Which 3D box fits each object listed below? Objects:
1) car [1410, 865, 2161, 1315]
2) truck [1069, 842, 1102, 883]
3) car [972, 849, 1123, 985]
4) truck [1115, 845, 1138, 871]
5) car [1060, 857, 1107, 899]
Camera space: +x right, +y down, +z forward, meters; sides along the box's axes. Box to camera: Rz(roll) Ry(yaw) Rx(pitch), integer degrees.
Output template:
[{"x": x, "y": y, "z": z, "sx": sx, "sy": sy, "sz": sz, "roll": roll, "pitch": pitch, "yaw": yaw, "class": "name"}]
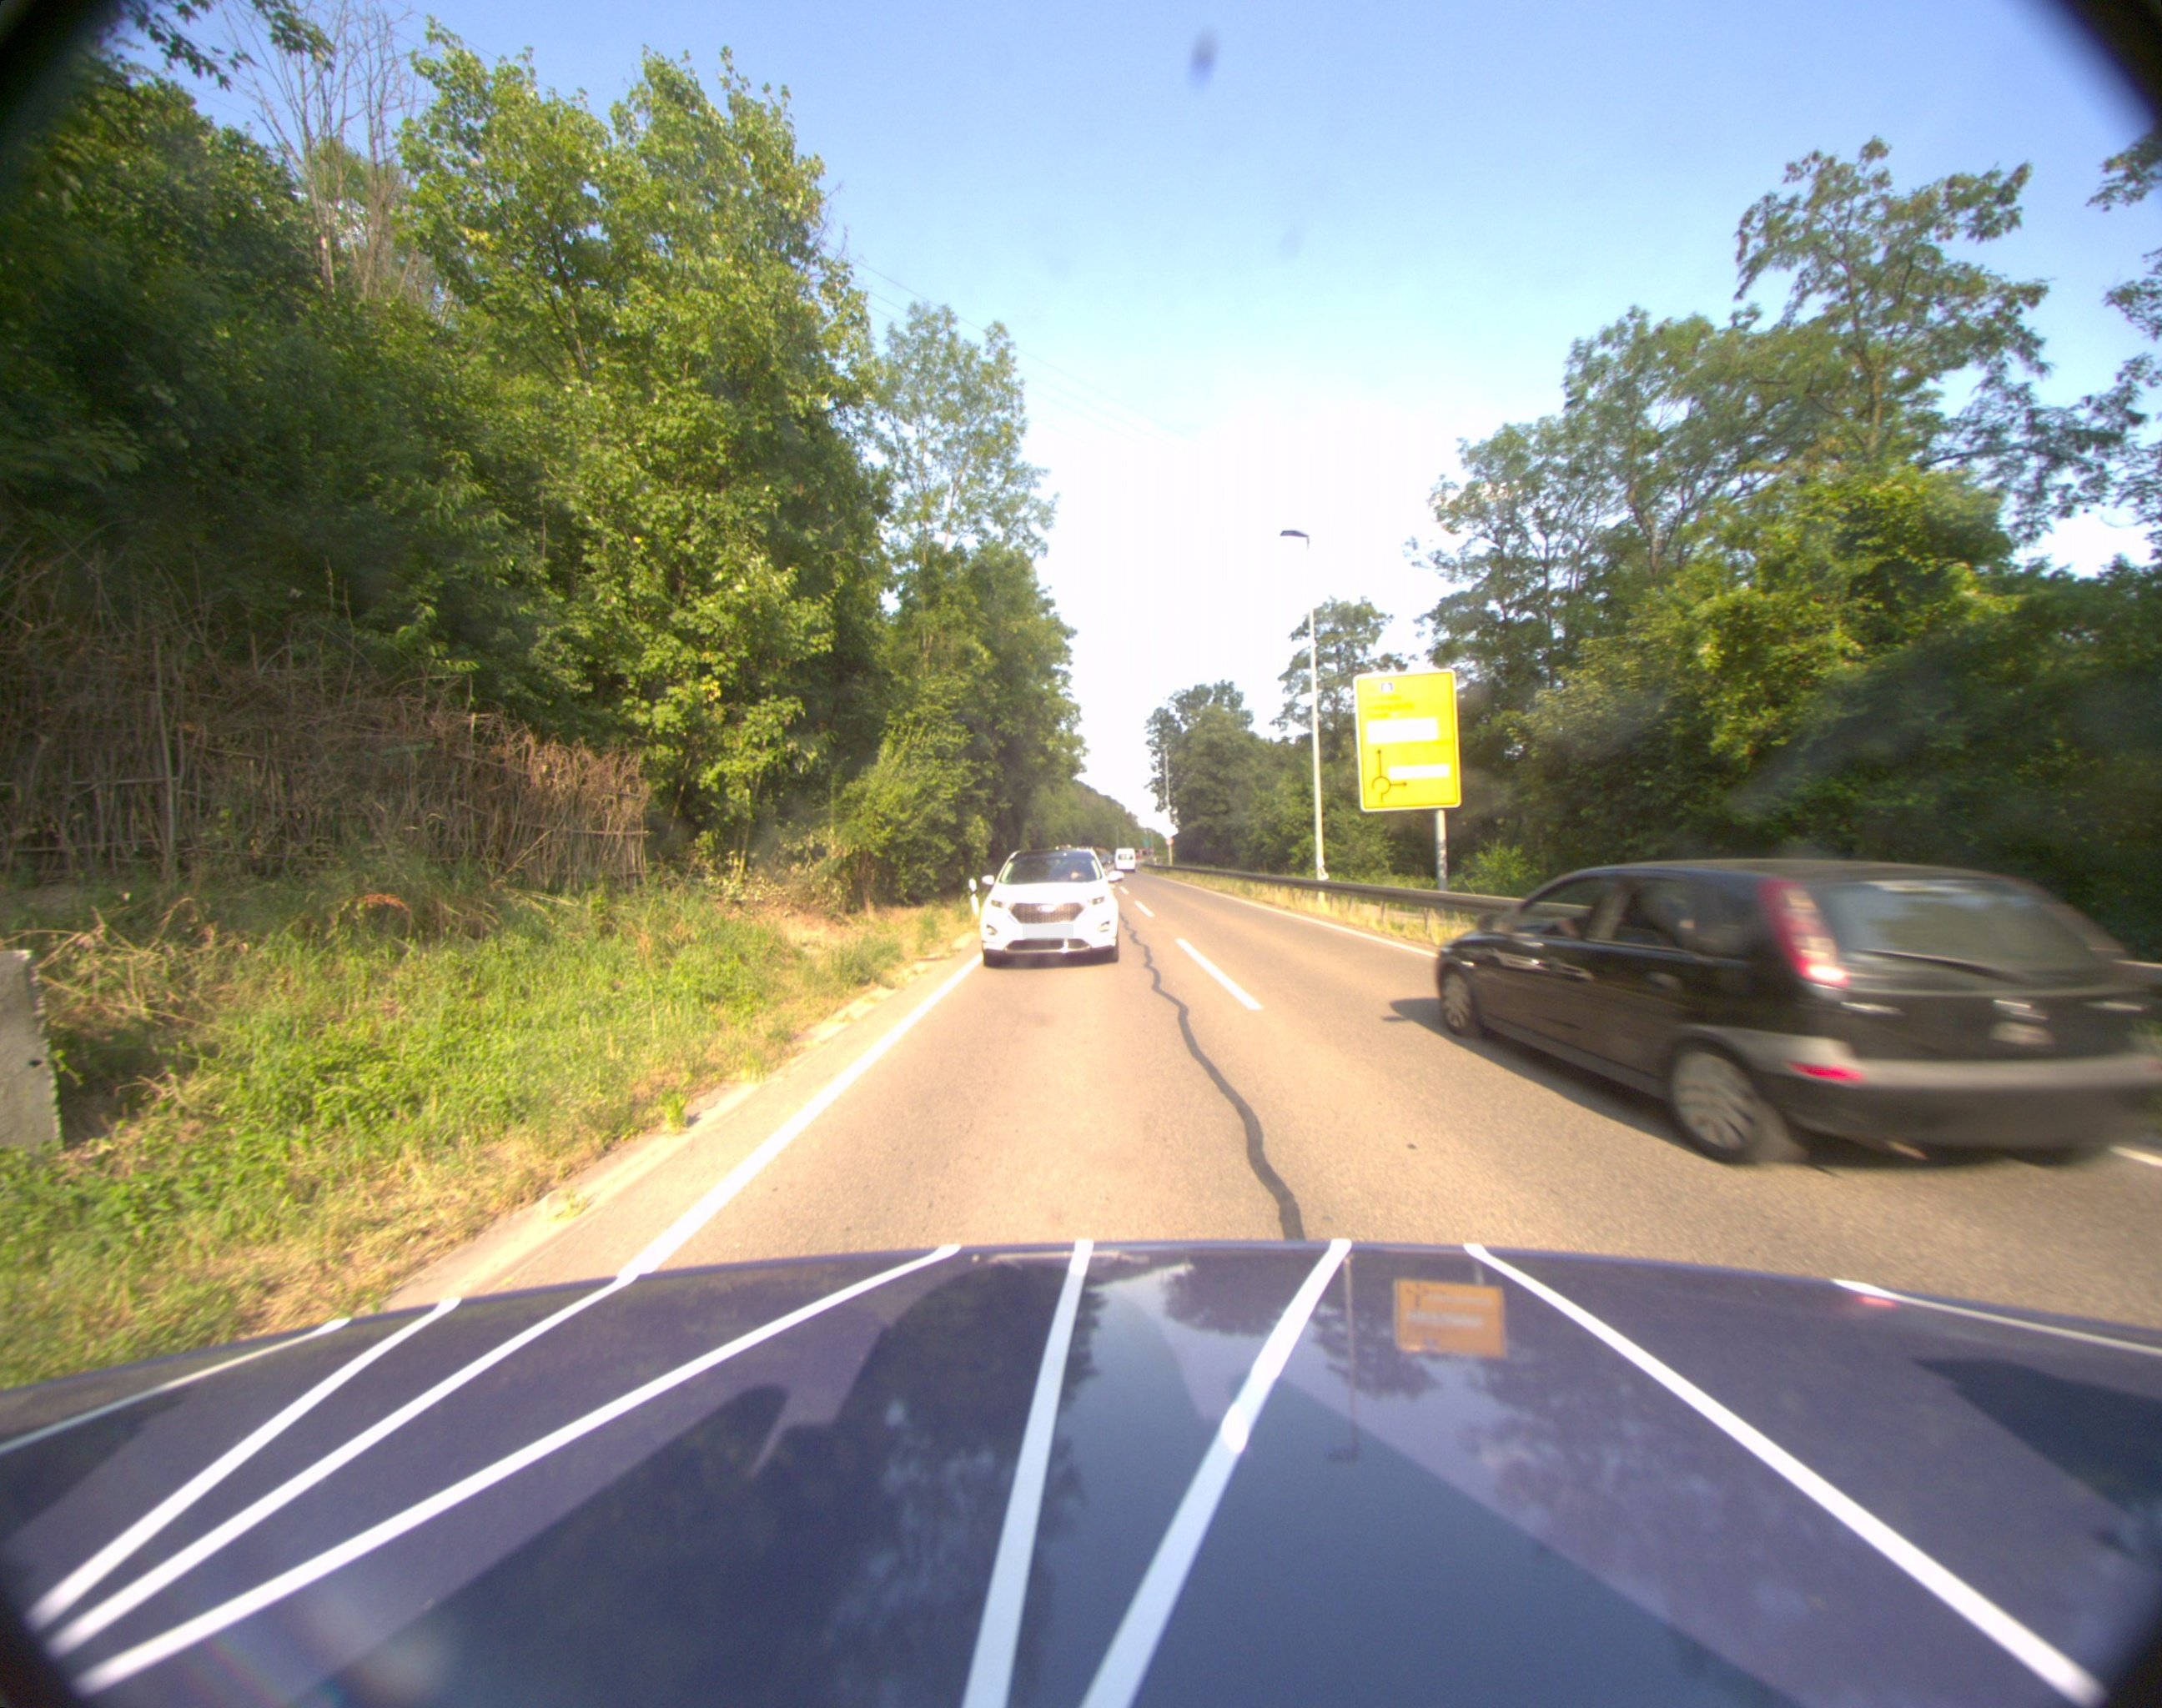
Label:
[{"x": 3.716, "y": 0.837, "z": 4.597, "sx": 1.686, "sy": 1.433, "sz": 4.000, "roll": -1, "pitch": 0, "yaw": 0, "class": "car"}, {"x": 0.294, "y": 0.519, "z": 47.170, "sx": 1.894, "sy": 2.334, "sz": 5.273, "roll": -2, "pitch": 0, "yaw": 1, "class": "truck"}, {"x": -0.402, "y": 0.821, "z": 11.932, "sx": 1.894, "sy": 1.691, "sz": 4.136, "roll": -2, "pitch": 0, "yaw": 1, "class": "car"}, {"x": 4.412, "y": 0.368, "z": 74.349, "sx": 2.062, "sy": 2.371, "sz": 5.873, "roll": -2, "pitch": 0, "yaw": 2, "class": "truck"}, {"x": 0.117, "y": 0.902, "z": 30.369, "sx": 1.704, "sy": 1.477, "sz": 4.136, "roll": -2, "pitch": 0, "yaw": 1, "class": "car"}]
